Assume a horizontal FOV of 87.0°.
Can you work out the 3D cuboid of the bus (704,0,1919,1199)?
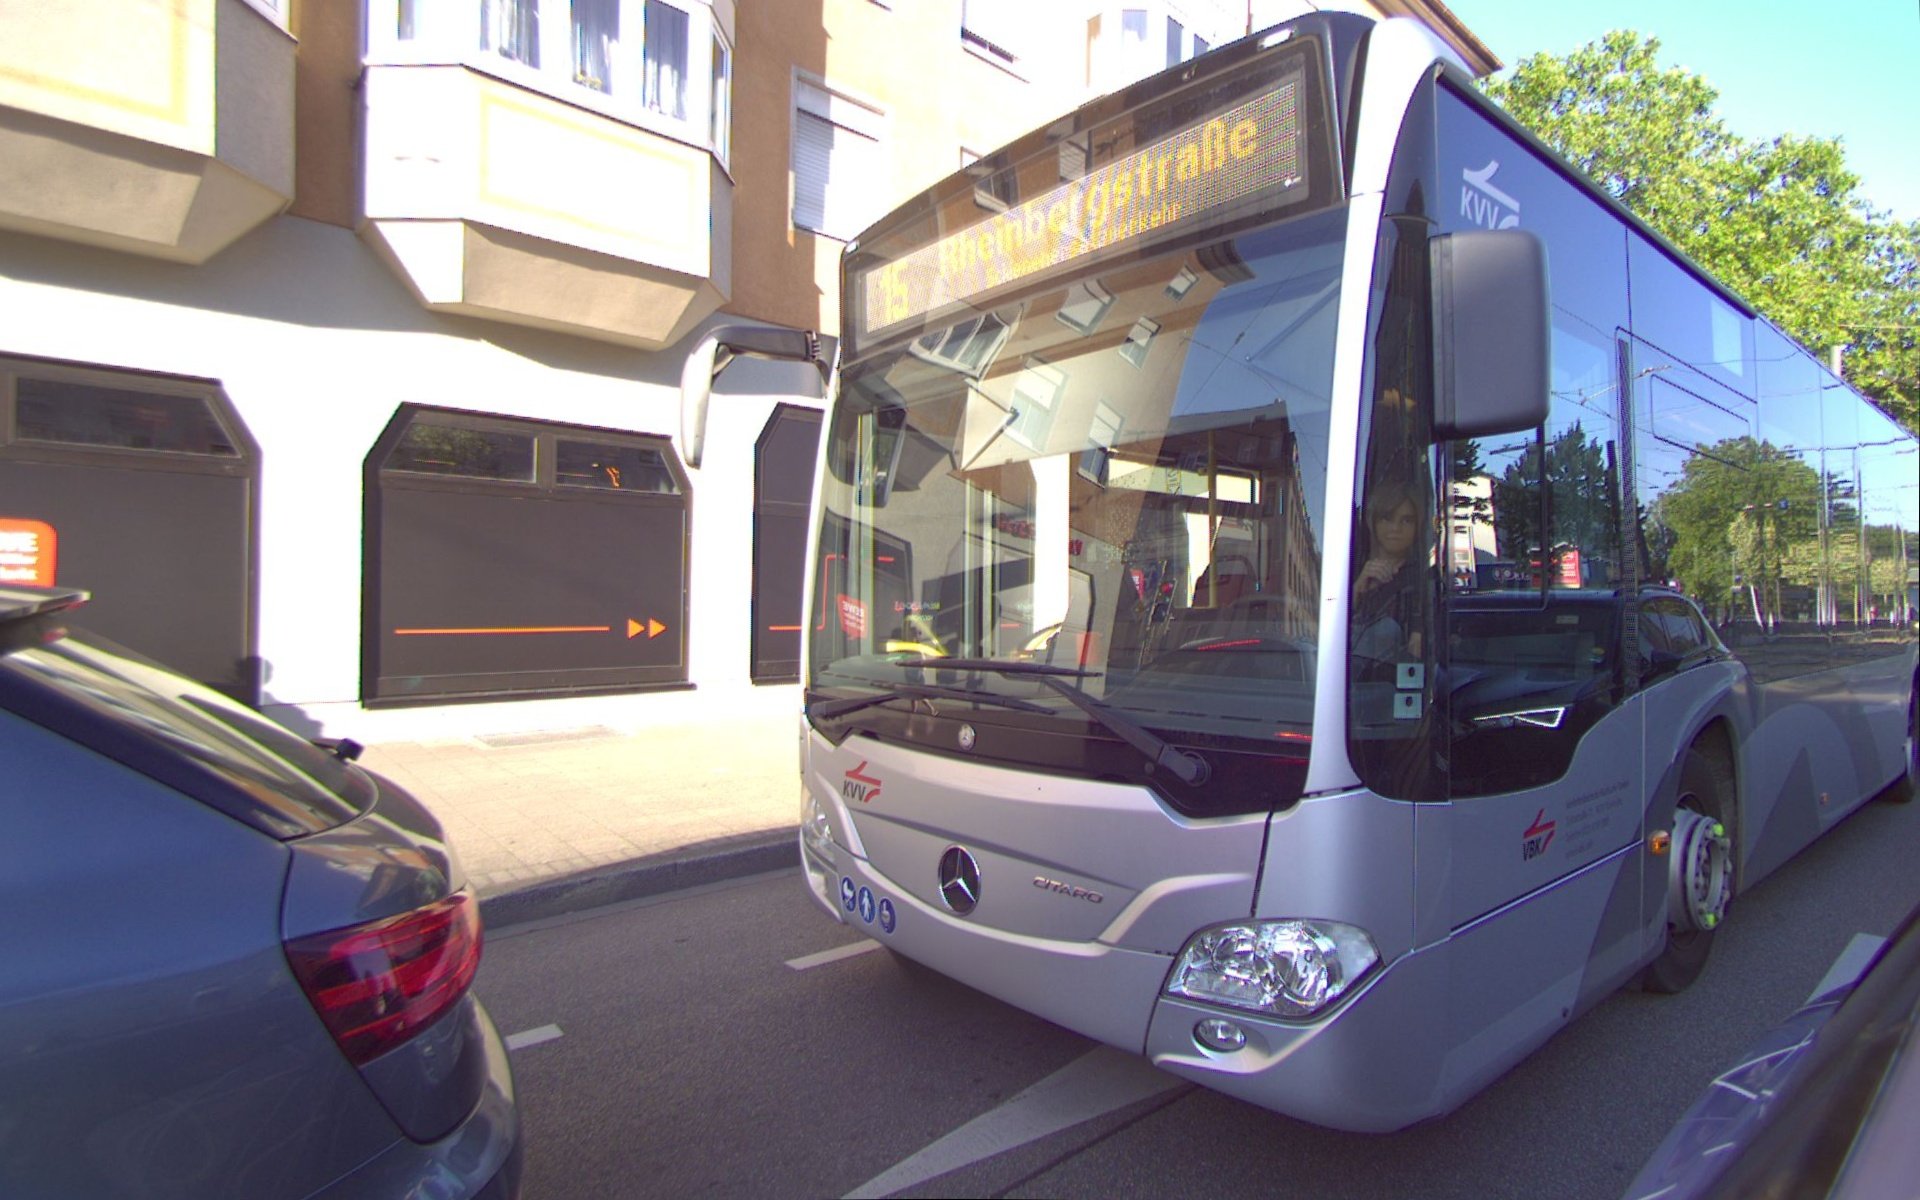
[{"bbox_3d":[3.273,-0.128,5.840,8.971,3.094,2.743,0,0,-41],"label":"bus"}]

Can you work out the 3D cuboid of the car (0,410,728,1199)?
[{"bbox_3d":[-2.422,0.594,0.771,4.014,1.595,1.773,0,2,-41],"label":"car"}]

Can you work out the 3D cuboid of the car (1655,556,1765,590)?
[{"bbox_3d":[37.431,-1.312,50.570,1.770,1.570,4.120,0,-1,-39],"label":"car"}]

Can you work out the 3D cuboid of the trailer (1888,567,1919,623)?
[{"bbox_3d":[46.498,-0.232,48.909,4.569,2.620,1.888,0,1,-41],"label":"trailer"}]

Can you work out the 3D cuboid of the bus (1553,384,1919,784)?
[{"bbox_3d":[9.912,-0.131,11.620,8.698,3.094,2.743,0,0,-41],"label":"bus"}]

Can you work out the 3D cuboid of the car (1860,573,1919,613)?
[{"bbox_3d":[41.745,-0.313,45.172,3.930,1.650,1.799,1,2,-41],"label":"car"}]
